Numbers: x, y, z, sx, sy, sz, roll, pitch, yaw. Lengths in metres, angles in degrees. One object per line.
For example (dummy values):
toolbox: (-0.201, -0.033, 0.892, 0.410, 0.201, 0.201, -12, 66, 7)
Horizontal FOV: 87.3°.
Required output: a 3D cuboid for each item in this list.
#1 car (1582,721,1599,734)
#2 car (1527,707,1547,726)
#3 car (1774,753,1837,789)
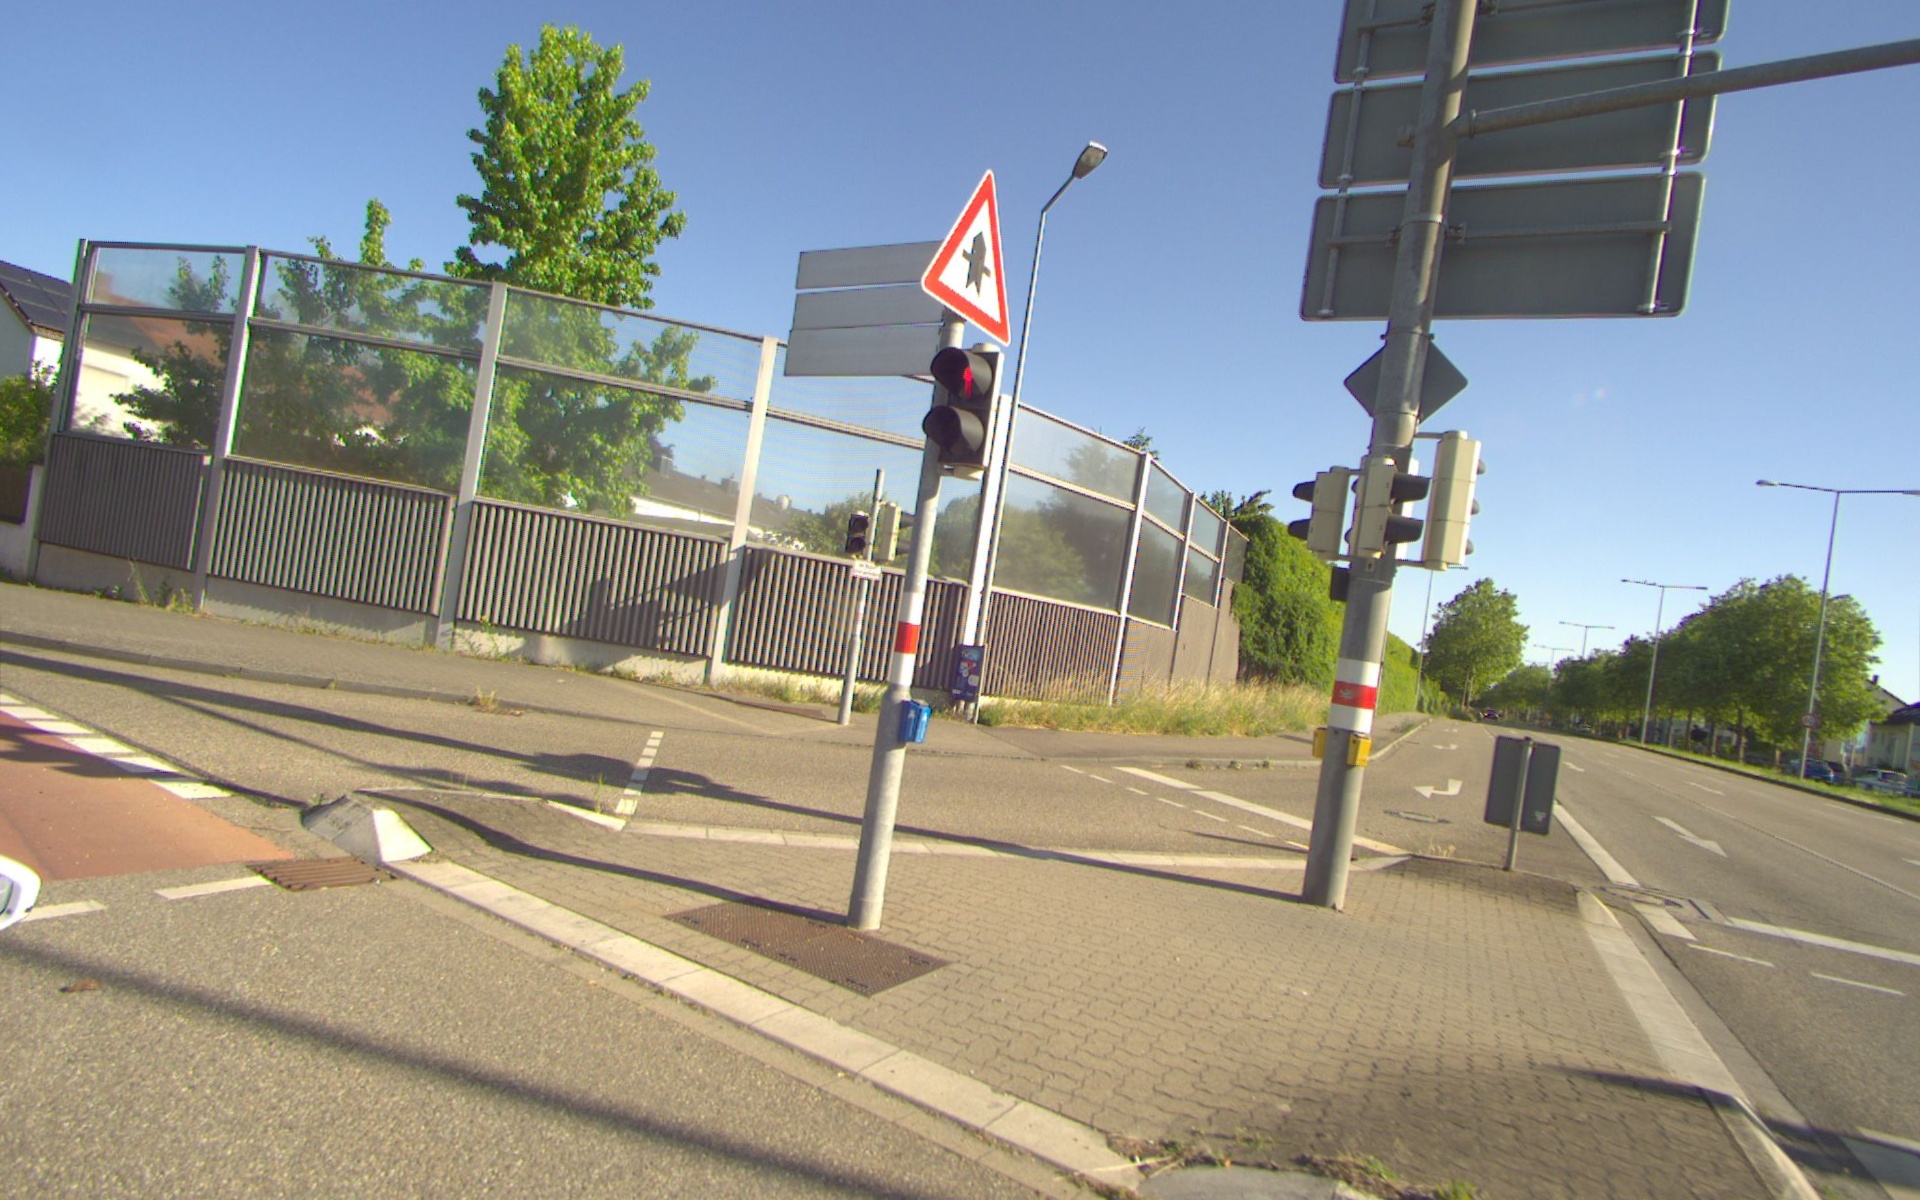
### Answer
car: (100.428, 20.257, 160.291, 1.826, 1.610, 3.998, 9, -1, 27)
car: (83.774, 16.940, 146.032, 1.809, 2.319, 4.000, 9, 0, 23)
car: (49.899, 10.067, 59.448, 1.706, 1.457, 3.792, 10, 0, 25)
